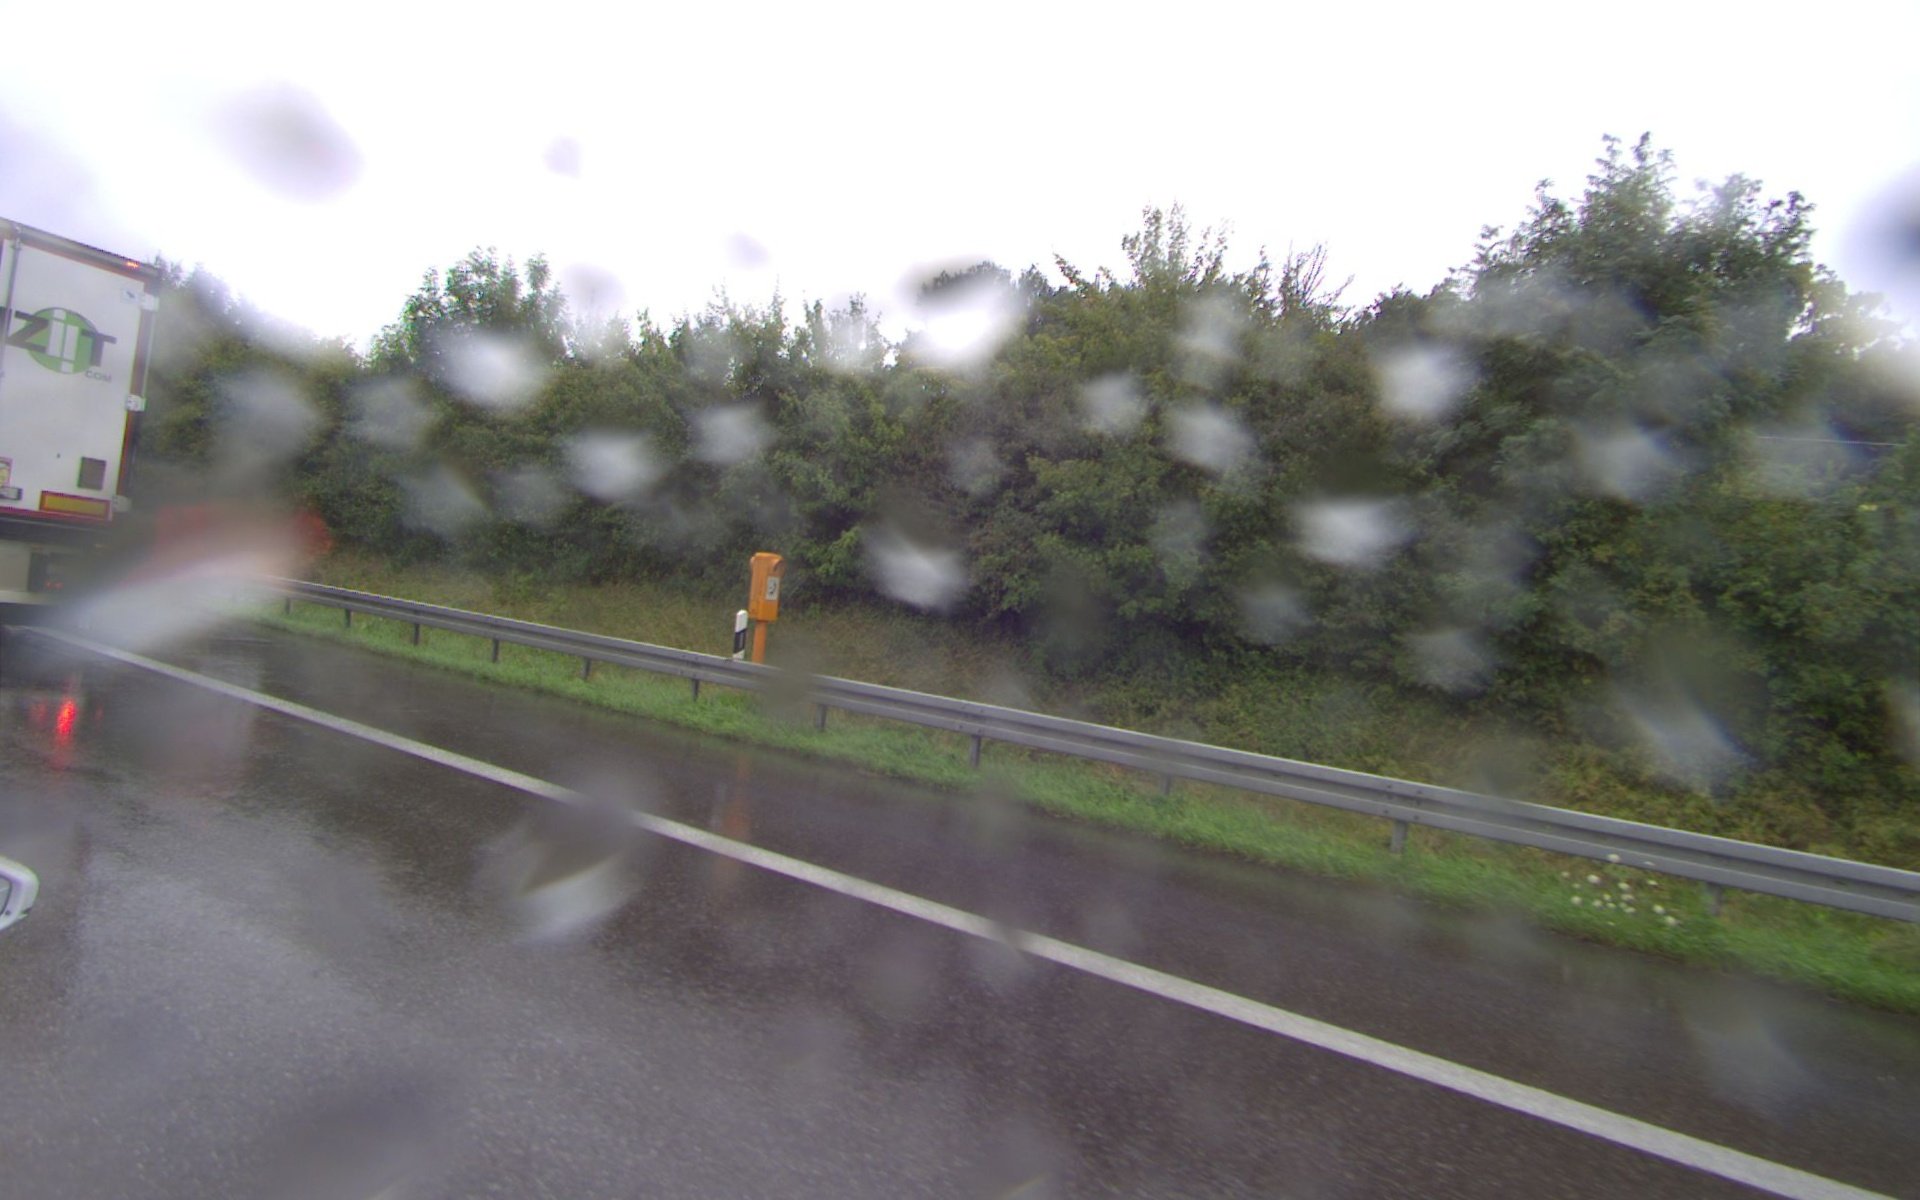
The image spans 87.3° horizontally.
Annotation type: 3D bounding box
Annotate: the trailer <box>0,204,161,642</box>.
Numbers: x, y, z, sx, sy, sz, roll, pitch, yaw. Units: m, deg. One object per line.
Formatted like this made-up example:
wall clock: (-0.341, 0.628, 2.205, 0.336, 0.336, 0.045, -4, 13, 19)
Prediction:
trailer: (-15.335, -2.445, 13.125, 14.385, 4.061, 2.634, 7, 0, 31)
